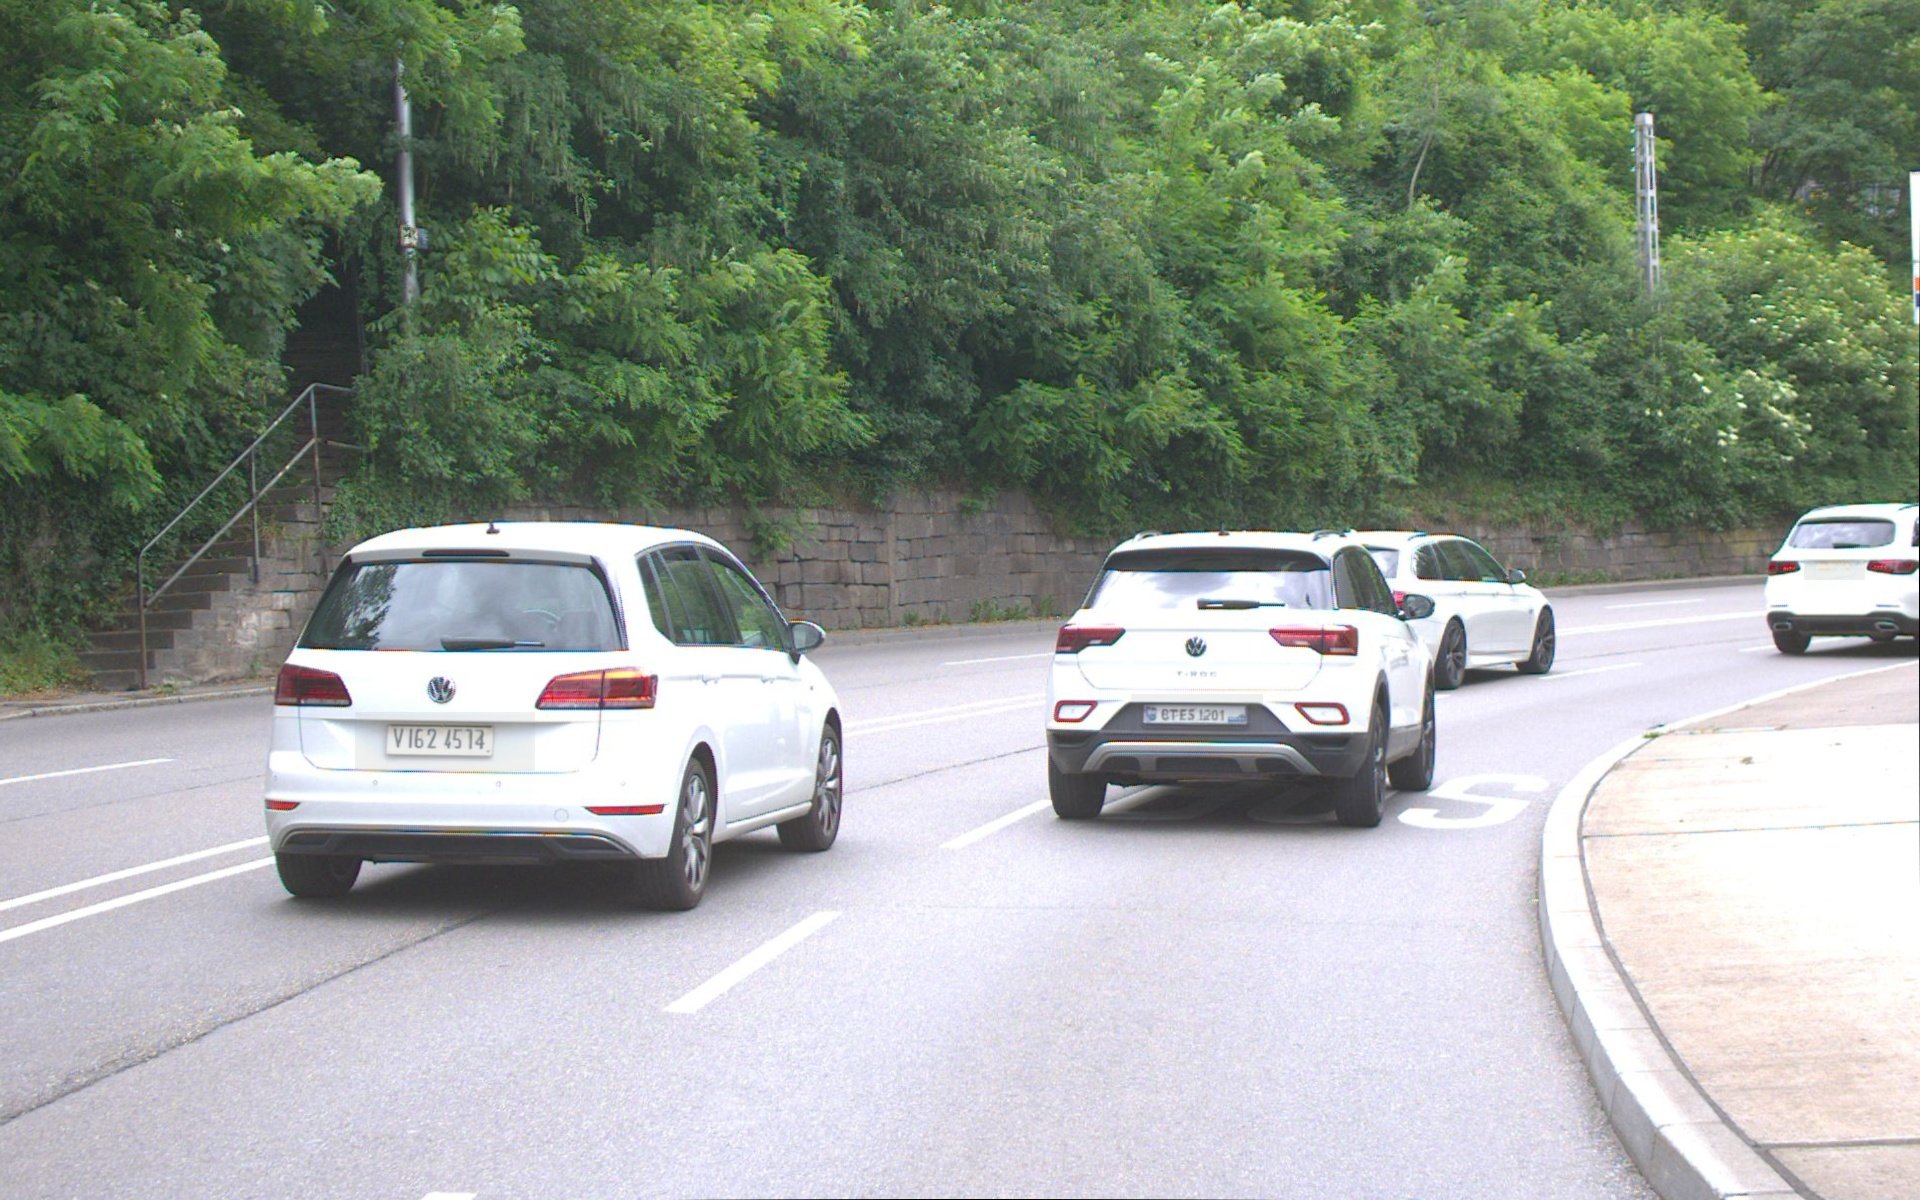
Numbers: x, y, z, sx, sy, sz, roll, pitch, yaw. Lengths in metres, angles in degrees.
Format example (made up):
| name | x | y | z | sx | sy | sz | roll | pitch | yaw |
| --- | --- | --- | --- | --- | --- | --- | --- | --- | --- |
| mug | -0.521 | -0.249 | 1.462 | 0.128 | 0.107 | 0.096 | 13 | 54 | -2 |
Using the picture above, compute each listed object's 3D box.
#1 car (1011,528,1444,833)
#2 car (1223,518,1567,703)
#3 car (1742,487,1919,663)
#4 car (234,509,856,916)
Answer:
| name | x | y | z | sx | sy | sz | roll | pitch | yaw |
| --- | --- | --- | --- | --- | --- | --- | --- | --- | --- |
| car | 1.628 | 0.387 | 19.516 | 1.815 | 1.534 | 4.006 | -1 | 1 | 13 |
| car | 4.302 | 0.032 | 33.350 | 1.996 | 1.552 | 4.675 | 3 | 3 | 24 |
| car | 10.485 | -0.272 | 38.633 | 1.997 | 1.837 | 4.142 | 2 | 1 | 32 |
| car | -1.674 | 0.387 | 15.357 | 1.720 | 1.549 | 4.274 | 0 | 1 | 8 |
